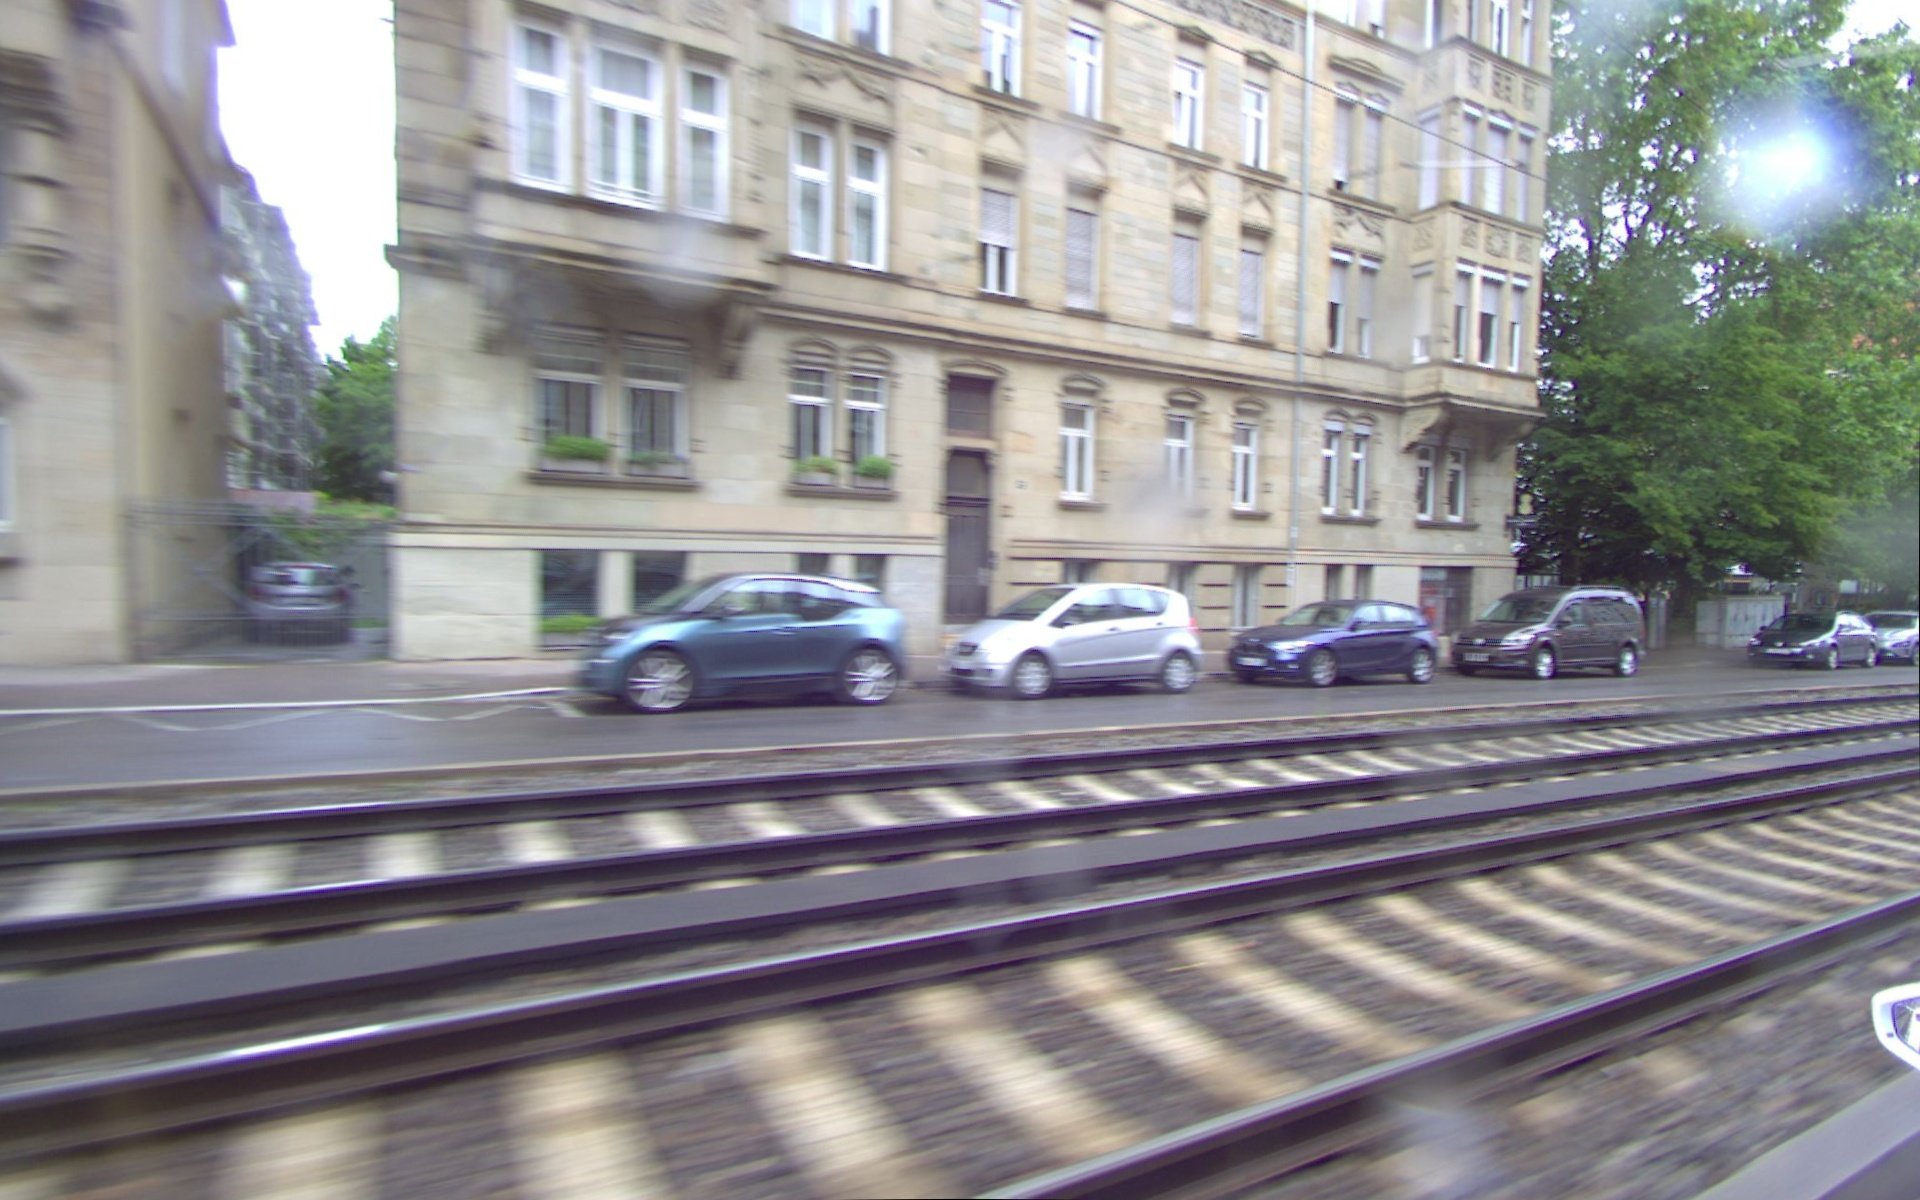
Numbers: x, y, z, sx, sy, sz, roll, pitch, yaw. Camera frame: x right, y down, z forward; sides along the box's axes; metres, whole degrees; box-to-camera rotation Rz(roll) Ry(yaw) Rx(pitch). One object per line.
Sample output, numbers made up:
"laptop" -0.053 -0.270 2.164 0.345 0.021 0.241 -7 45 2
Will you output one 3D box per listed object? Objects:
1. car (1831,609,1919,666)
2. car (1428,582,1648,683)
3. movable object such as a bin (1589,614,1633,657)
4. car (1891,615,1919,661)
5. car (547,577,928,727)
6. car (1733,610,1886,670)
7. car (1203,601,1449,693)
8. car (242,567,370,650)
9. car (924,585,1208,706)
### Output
"car" 27.496 1.078 29.403 4.490 1.556 1.745 1 -1 -31
"car" 11.913 0.652 20.608 4.761 1.871 1.792 1 -1 -30
"movable object such as a bin" 18.129 0.987 27.984 0.763 1.135 0.714 1 1 -28
"car" 31.785 1.211 32.225 4.105 1.432 1.745 1 -1 -31
"car" -2.634 0.563 12.102 4.120 1.528 1.861 1 0 -30
"car" 22.715 1.050 26.823 4.500 1.483 1.839 1 -1 -32
"car" 6.358 0.761 17.342 4.221 1.416 1.753 1 -1 -31
"car" -12.601 0.124 19.559 1.709 1.458 3.601 1 1 -27
"car" 1.561 0.609 14.476 3.808 1.544 1.687 1 0 -30
